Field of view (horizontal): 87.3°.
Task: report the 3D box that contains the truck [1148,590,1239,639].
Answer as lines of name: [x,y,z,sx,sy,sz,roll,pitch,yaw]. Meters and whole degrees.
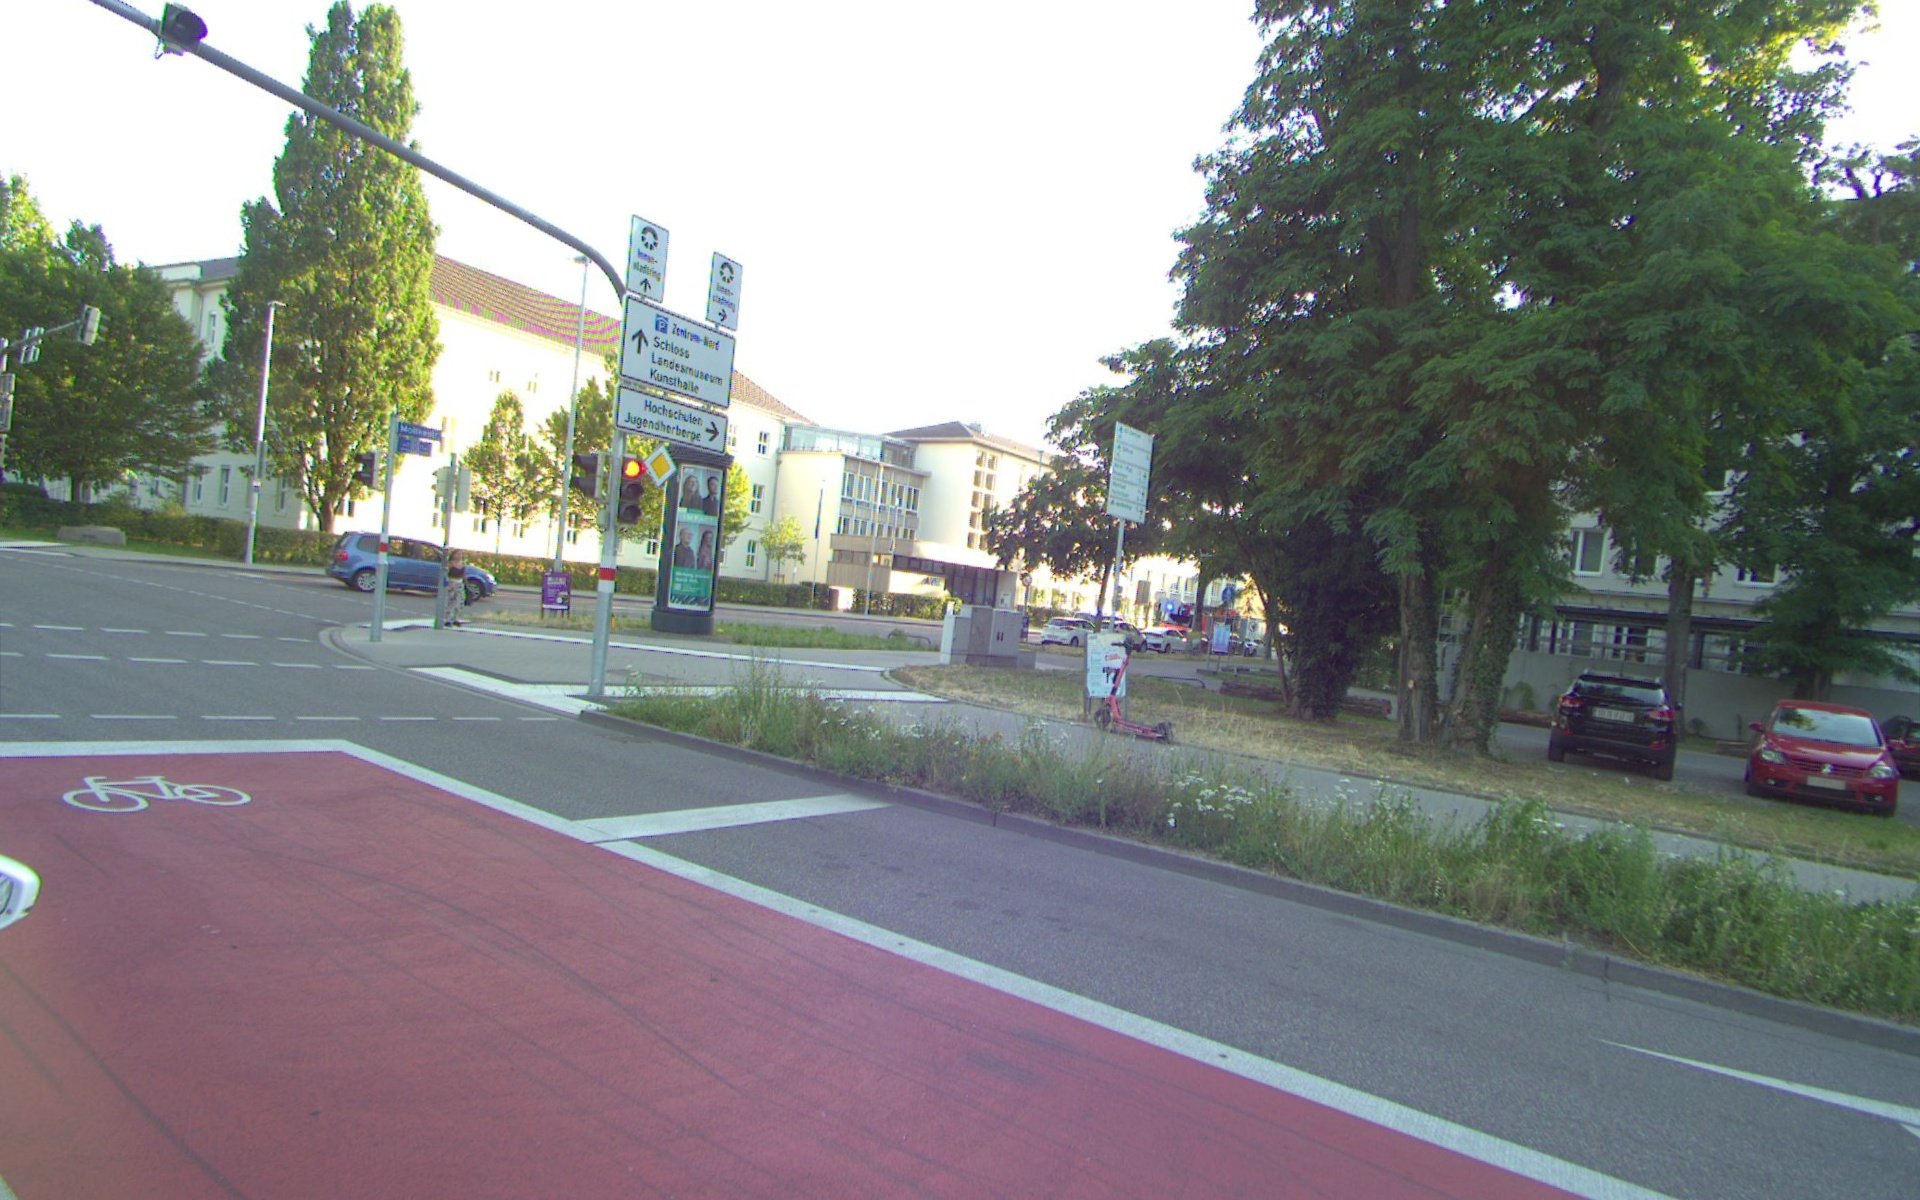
truck: [15.807,1.064,67.460,2.327,2.315,10.049,7,-1,34]

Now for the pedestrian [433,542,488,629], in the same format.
pedestrian: [-10.194,-0.292,20.533,0.681,1.656,0.599,8,1,36]

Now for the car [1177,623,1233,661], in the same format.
car: [14.557,2.499,59.724,1.698,1.879,3.989,7,-1,35]

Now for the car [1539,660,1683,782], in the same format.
car: [11.735,2.111,18.058,1.808,1.715,3.899,7,-1,36]

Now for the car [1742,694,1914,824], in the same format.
car: [13.964,2.454,16.398,1.759,1.581,3.984,7,0,38]

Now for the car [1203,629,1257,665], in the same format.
car: [17.171,3.034,63.855,1.789,1.893,4.136,7,-1,35]

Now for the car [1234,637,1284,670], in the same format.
car: [20.319,3.659,68.234,1.873,1.831,3.988,7,-1,36]

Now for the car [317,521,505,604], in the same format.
car: [-15.544,-1.029,28.598,4.267,1.742,1.832,7,2,-43]

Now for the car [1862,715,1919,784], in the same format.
car: [23.147,3.618,24.032,1.873,1.459,3.987,7,-1,36]

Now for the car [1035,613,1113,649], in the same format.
car: [5.433,1.498,47.699,1.793,1.358,3.985,6,0,37]

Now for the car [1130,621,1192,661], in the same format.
car: [11.026,2.273,55.099,1.720,1.783,3.989,7,-1,35]

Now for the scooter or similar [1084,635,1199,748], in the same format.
scooter or similar: [2.301,1.140,12.797,1.289,1.247,0.311,7,1,32]

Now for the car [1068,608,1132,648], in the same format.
car: [7.718,1.576,55.210,1.720,1.783,3.989,7,-1,35]

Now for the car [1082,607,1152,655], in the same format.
car: [8.020,1.589,51.181,1.713,2.038,3.988,7,-1,36]
